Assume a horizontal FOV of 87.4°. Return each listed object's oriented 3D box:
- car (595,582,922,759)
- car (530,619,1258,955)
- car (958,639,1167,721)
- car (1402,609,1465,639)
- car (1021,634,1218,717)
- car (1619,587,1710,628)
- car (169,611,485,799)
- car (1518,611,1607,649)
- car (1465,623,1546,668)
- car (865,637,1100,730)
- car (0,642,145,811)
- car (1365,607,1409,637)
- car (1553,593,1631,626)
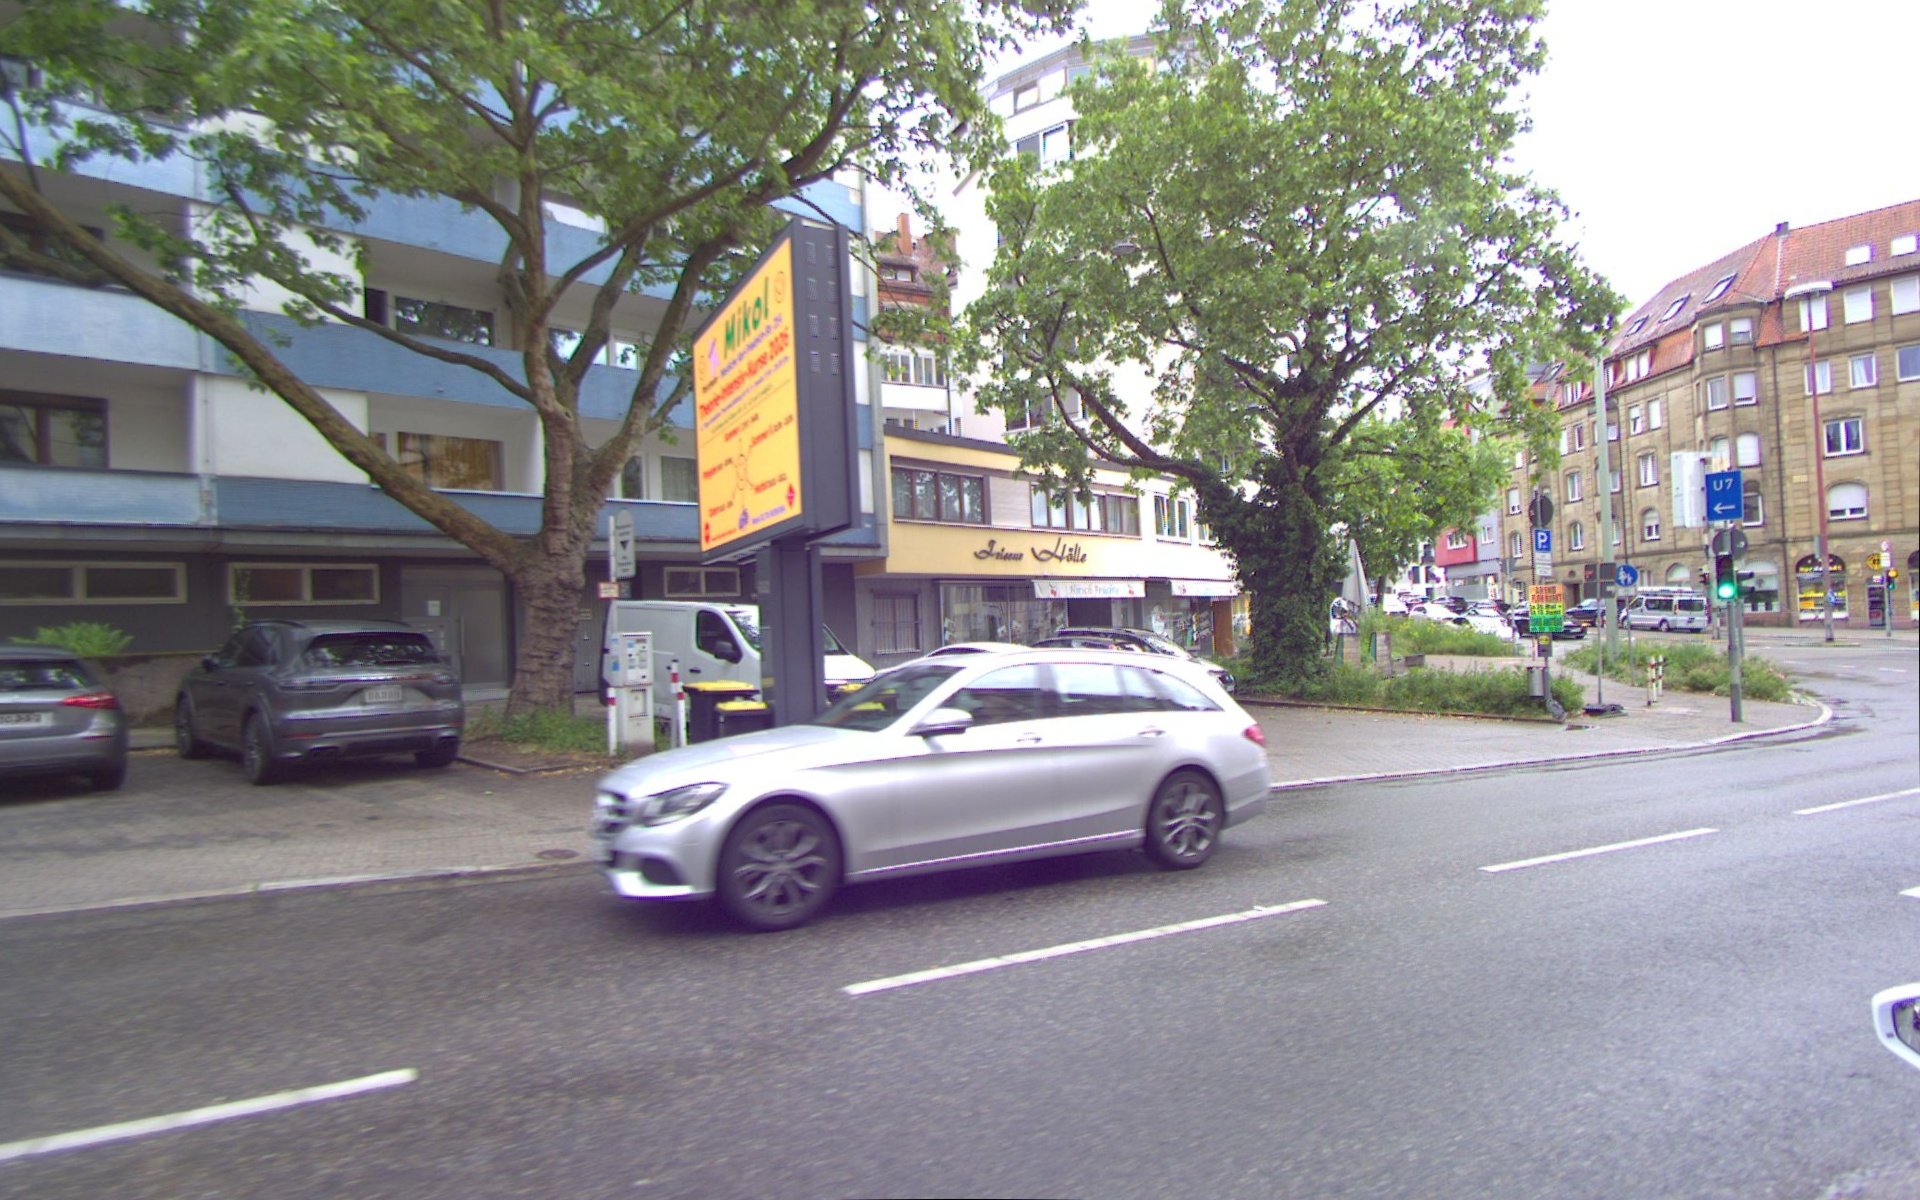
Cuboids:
[{"bbox_3d":[-3.052,0.924,14.537,5.001,2.132,1.983,-1,-3,41],"label":"car"},{"bbox_3d":[-0.307,0.985,6.547,4.419,1.546,1.730,2,-5,-30],"label":"car"},{"bbox_3d":[2.016,1.549,20.383,3.926,1.469,1.761,-1,-3,41],"label":"car"},{"bbox_3d":[29.959,1.496,63.656,1.960,1.749,4.250,-2,-1,0],"label":"car"},{"bbox_3d":[3.524,1.615,22.585,4.075,1.675,1.761,-1,-3,41],"label":"car"},{"bbox_3d":[38.776,0.372,55.439,1.961,2.130,4.292,0,1,-1],"label":"car"},{"bbox_3d":[-7.535,1.072,11.802,4.305,1.807,1.930,-1,-3,41],"label":"car"},{"bbox_3d":[30.051,1.466,50.268,1.960,1.749,4.250,-1,0,2],"label":"car"},{"bbox_3d":[25.983,2.174,48.008,1.841,2.040,4.002,0,-2,2],"label":"car"},{"bbox_3d":[0.337,1.439,18.414,4.123,1.475,1.786,-1,-3,41],"label":"car"},{"bbox_3d":[-9.964,1.173,10.148,3.871,1.449,1.742,-1,-2,36],"label":"car"},{"bbox_3d":[30.068,1.521,70.870,1.545,2.040,4.002,0,-1,3],"label":"car"},{"bbox_3d":[37.899,0.521,60.364,1.961,1.863,4.292,0,1,-1],"label":"car"}]
